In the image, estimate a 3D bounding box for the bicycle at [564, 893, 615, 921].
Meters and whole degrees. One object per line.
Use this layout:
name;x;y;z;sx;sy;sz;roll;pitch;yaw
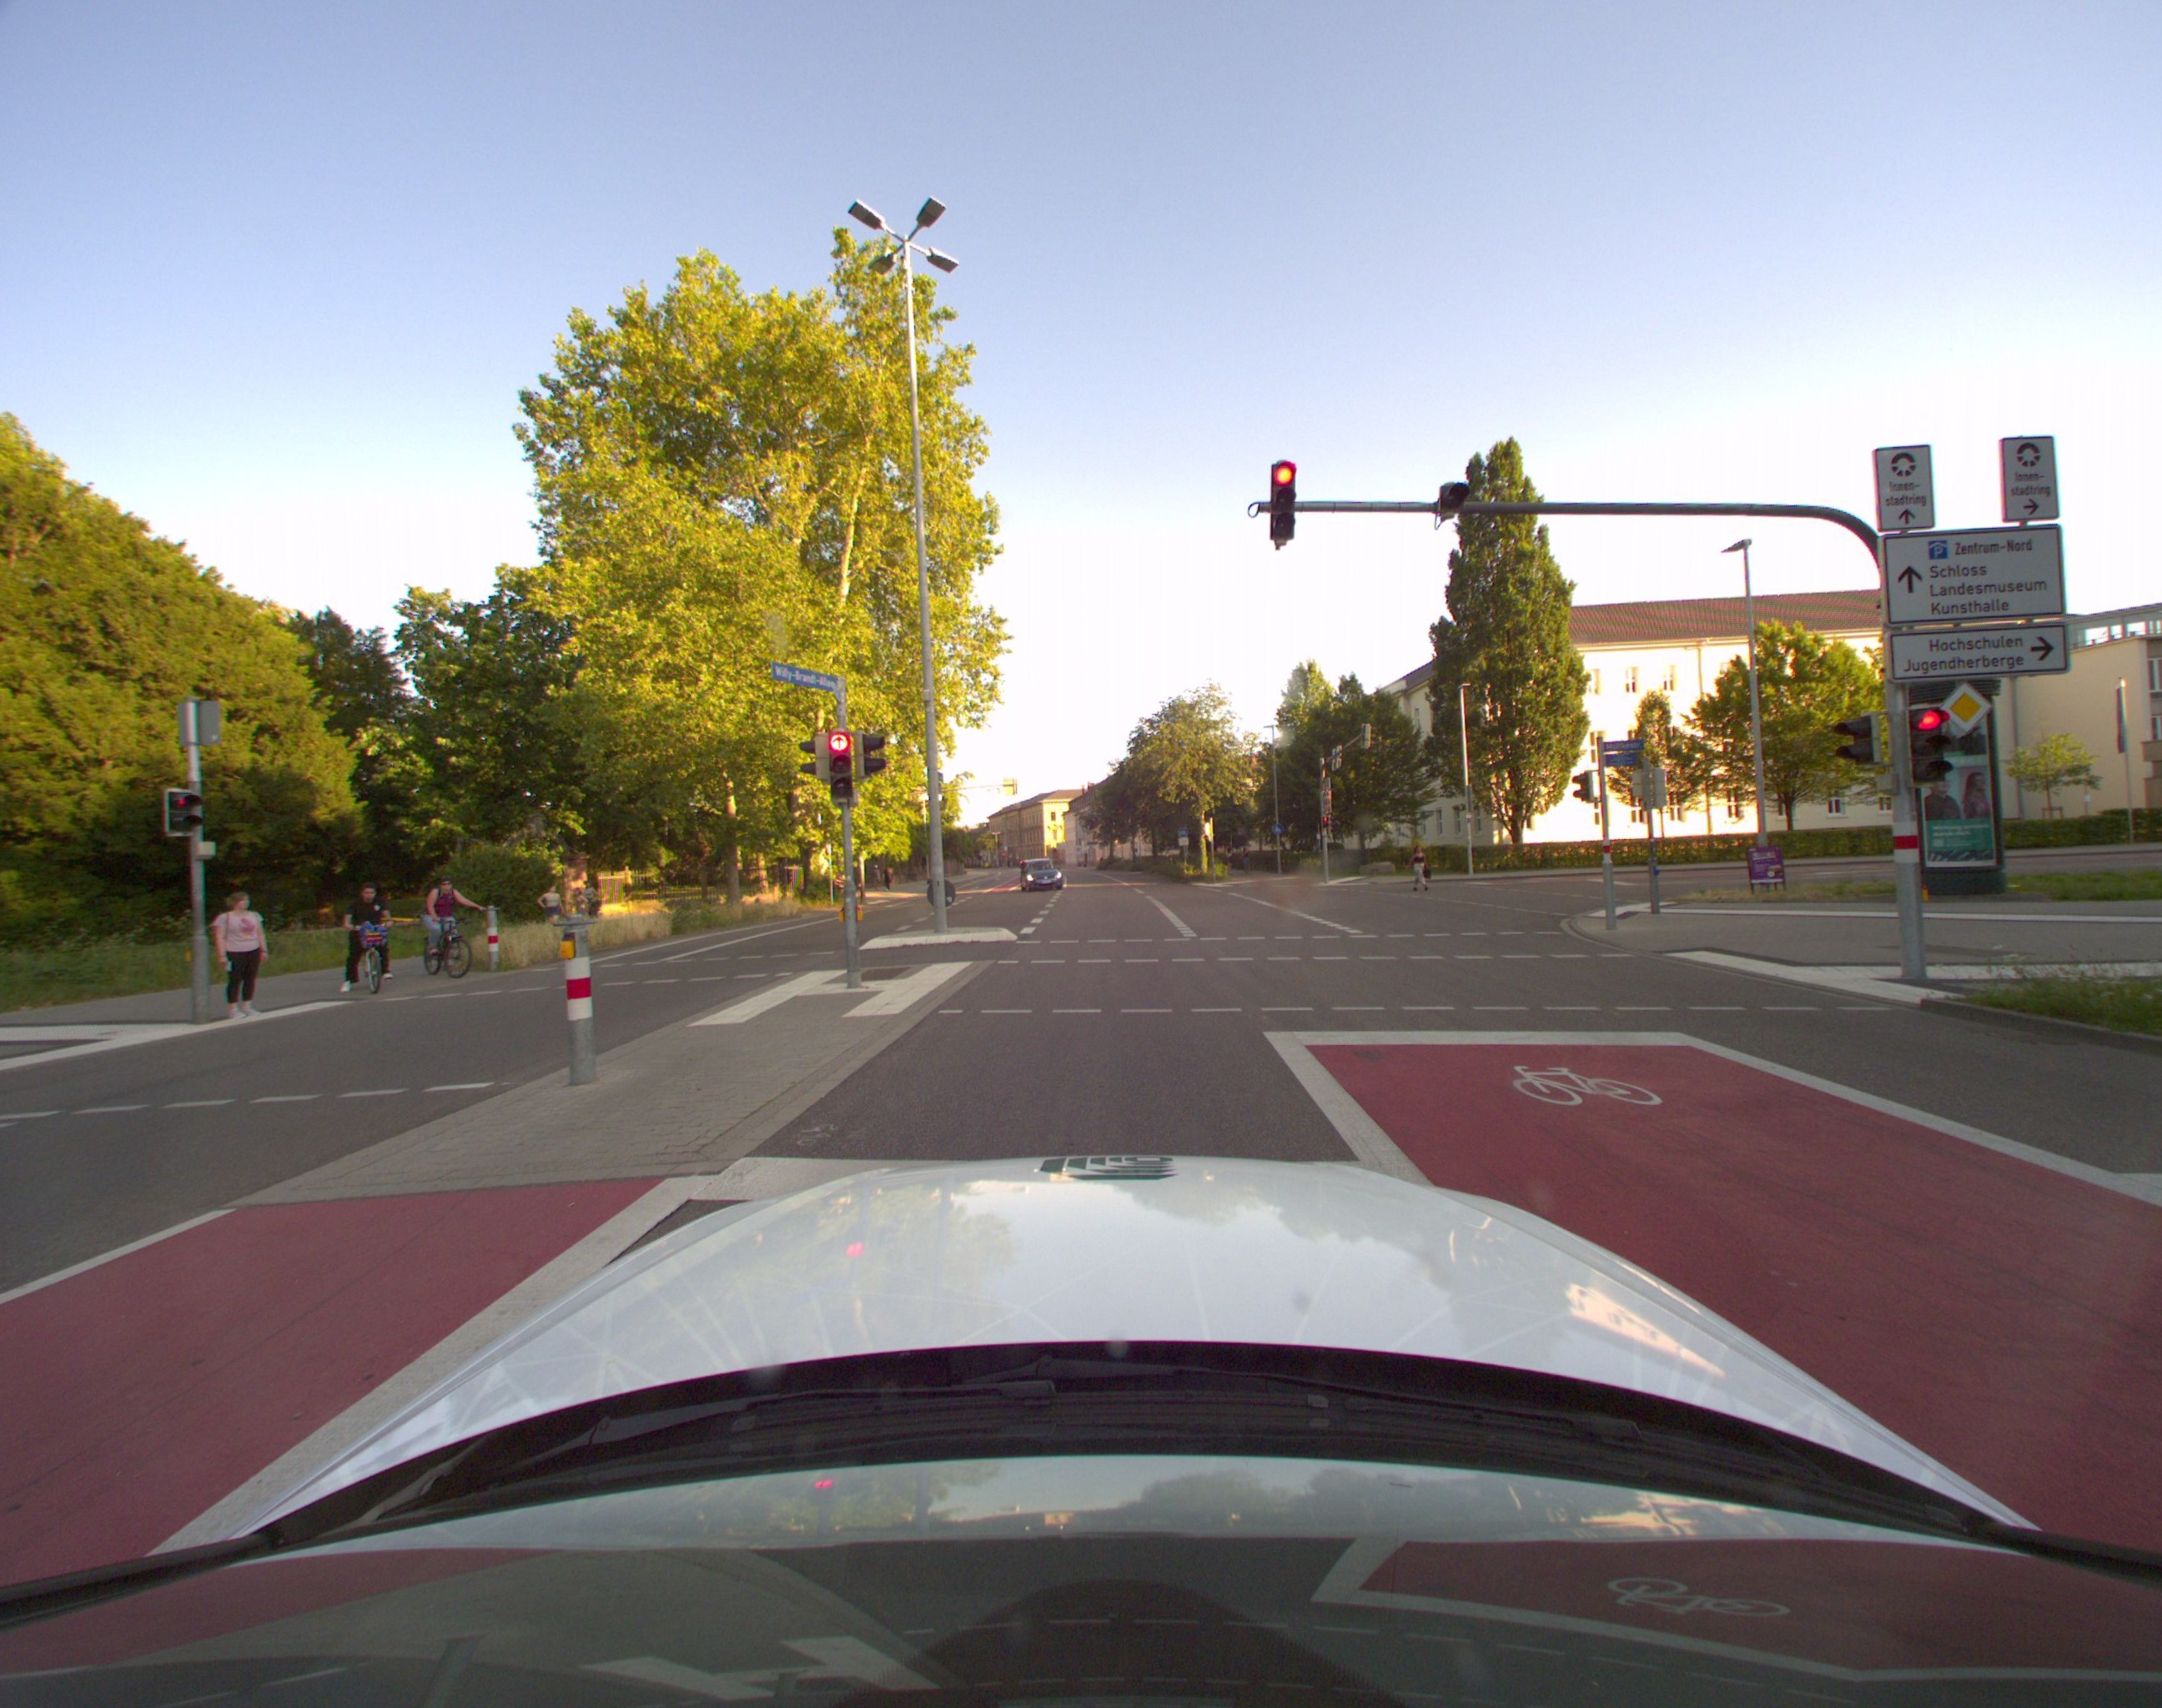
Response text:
bicycle;-19.395;2.074;32.142;2.267;1.033;0.746;-2;-1;31

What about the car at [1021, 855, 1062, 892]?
car;-2.078;0.960;41.989;1.847;1.720;4.286;-3;0;-6

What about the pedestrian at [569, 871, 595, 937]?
pedestrian;-15.631;1.562;25.506;0.598;2.014;0.634;-1;-1;-38

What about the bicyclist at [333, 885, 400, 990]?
bicyclist;-11.890;1.370;13.559;0.631;1.649;0.634;-3;-1;32

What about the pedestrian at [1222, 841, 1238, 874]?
pedestrian;9.483;0.220;51.966;0.867;2.014;0.723;-2;-1;1

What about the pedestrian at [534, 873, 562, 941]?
pedestrian;-16.394;1.610;25.047;0.654;2.014;0.599;-1;-1;-37

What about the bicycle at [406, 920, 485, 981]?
bicycle;-11.847;1.764;15.165;1.749;1.030;0.583;-3;-1;32

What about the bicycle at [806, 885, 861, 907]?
bicycle;-12.358;2.100;40.705;2.420;0.924;0.775;-3;0;2

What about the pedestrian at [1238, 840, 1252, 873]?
pedestrian;10.371;0.156;51.434;0.633;2.014;0.720;-2;-1;-2

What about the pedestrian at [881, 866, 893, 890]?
pedestrian;-13.073;1.644;54.848;0.597;1.573;0.646;-3;0;1

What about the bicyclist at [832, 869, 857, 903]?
bicyclist;-11.830;1.586;40.707;0.954;1.631;0.753;-3;0;2

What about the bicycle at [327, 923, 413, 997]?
bicycle;-11.816;1.730;13.522;1.548;1.111;0.637;-3;-1;32

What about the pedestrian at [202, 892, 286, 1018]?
pedestrian;-11.776;1.402;11.464;0.604;1.695;0.499;-3;0;3

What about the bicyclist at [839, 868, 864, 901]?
bicyclist;-11.941;1.595;42.416;0.954;1.631;0.753;-3;0;2

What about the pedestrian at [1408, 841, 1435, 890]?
pedestrian;11.512;0.376;27.561;0.597;1.636;0.692;-2;0;2

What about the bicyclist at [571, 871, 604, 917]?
bicyclist;-19.467;1.567;32.127;0.932;1.728;0.762;-2;-1;31

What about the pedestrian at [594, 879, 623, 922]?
pedestrian;-23.269;2.273;40.125;0.759;2.014;1.075;-2;-1;-5

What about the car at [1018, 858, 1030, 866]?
car;-11.893;1.754;170.258;1.821;1.588;3.983;-4;0;-12

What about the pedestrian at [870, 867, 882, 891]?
pedestrian;-13.849;1.667;54.976;0.533;1.596;0.591;-3;0;1

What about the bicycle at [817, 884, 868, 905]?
bicycle;-12.412;2.109;42.434;2.420;0.924;0.775;-3;0;2

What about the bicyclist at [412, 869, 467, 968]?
bicyclist;-12.017;1.186;15.252;0.631;1.780;0.580;-3;-1;32
